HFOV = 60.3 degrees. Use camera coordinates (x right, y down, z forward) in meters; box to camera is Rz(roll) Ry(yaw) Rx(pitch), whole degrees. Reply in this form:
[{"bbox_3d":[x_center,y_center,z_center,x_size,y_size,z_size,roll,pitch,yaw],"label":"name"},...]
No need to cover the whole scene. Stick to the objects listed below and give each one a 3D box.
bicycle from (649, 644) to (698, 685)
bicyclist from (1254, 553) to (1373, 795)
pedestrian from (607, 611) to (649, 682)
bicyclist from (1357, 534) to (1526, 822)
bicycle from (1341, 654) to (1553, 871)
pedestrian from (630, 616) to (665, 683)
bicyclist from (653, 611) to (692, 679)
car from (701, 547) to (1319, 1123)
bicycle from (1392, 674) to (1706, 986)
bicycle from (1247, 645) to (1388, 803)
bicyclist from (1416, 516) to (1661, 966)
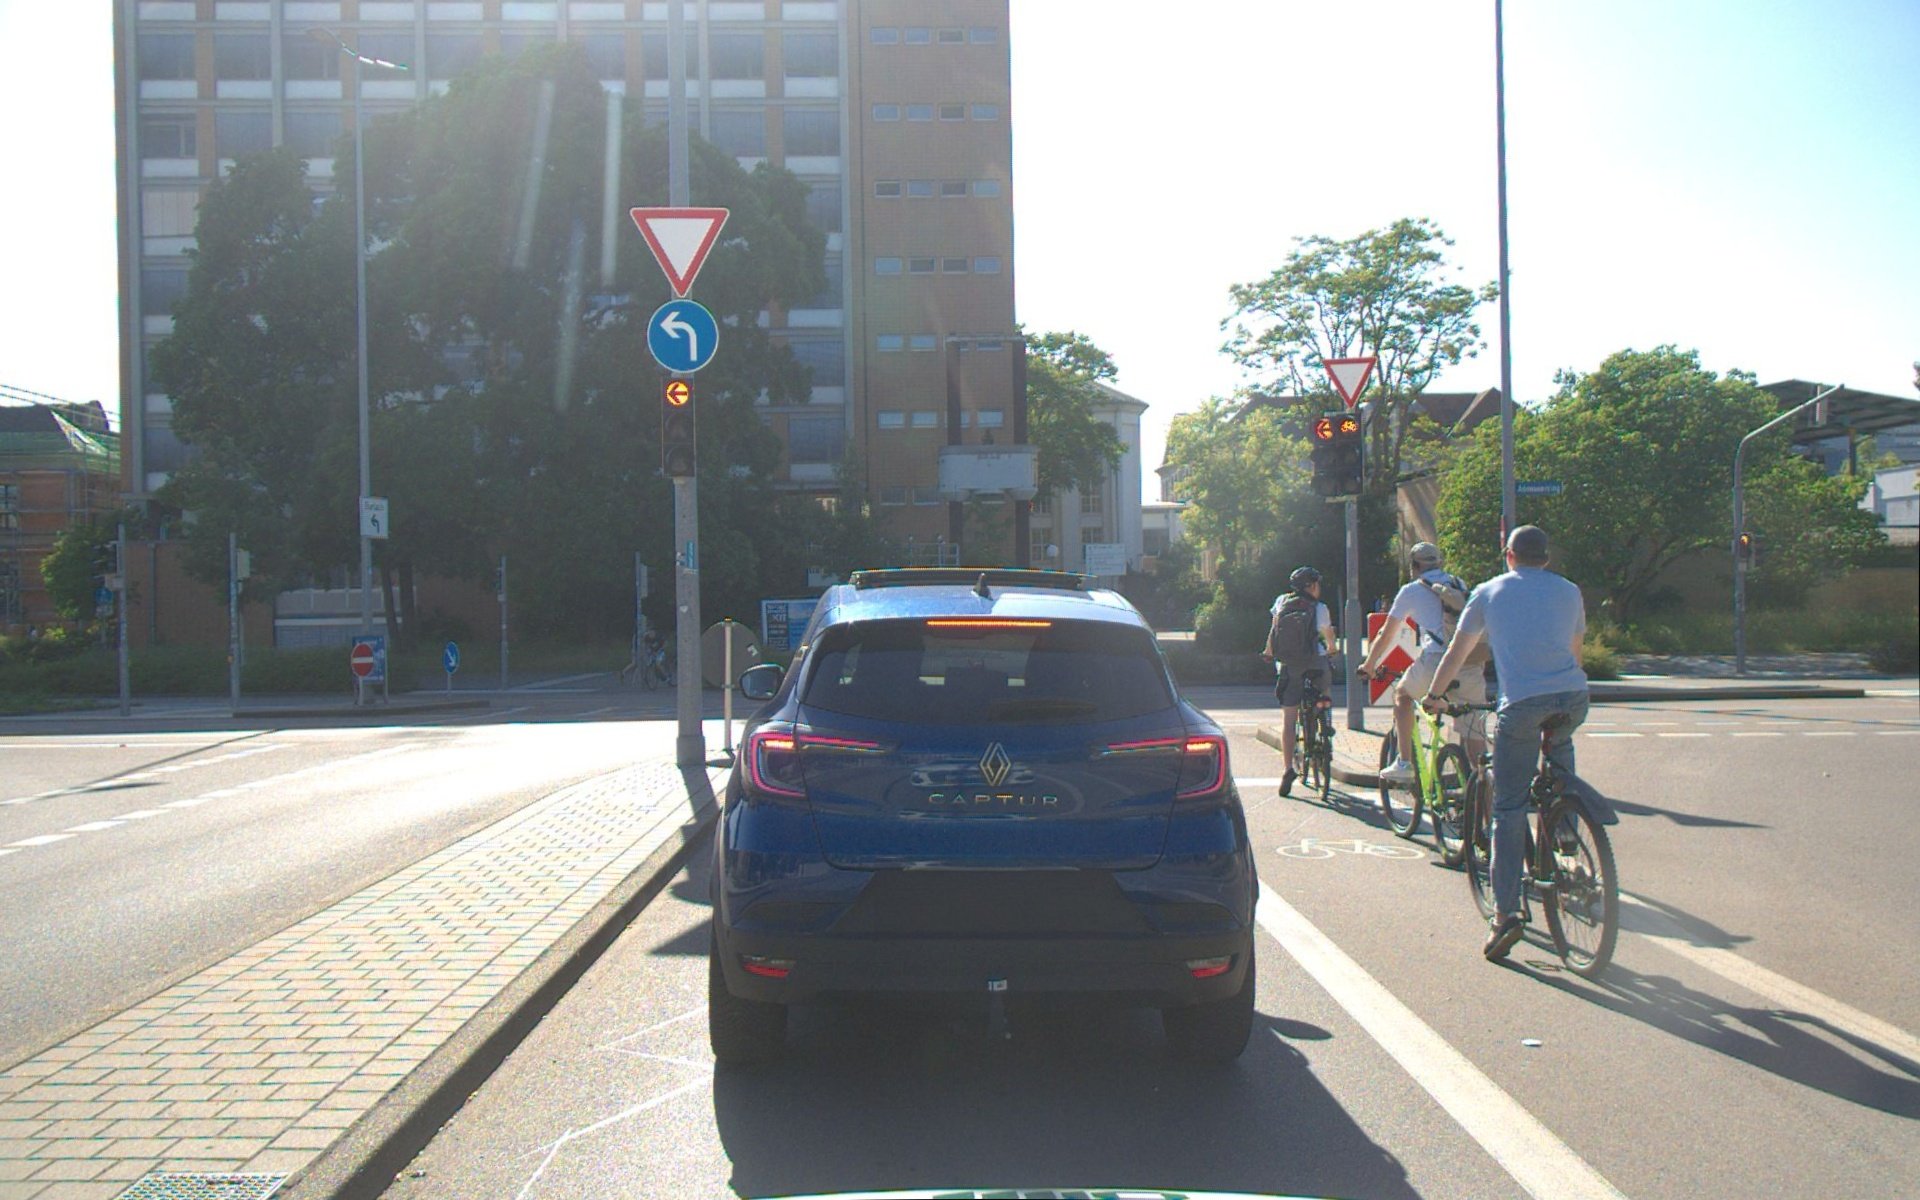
[{"bbox_3d":[-7.551,1.695,43.674,0.739,1.002,2.095,-1,0,5],"label":"bicycle"},{"bbox_3d":[2.776,0.560,13.083,0.685,1.822,1.142,0,0,-1],"label":"bicyclist"},{"bbox_3d":[-9.021,1.261,44.984,0.796,1.895,0.910,-1,0,13],"label":"pedestrian"},{"bbox_3d":[2.858,0.442,9.919,0.664,1.622,1.142,0,0,-1],"label":"bicyclist"},{"bbox_3d":[2.849,0.910,9.884,0.675,1.108,1.922,0,0,-1],"label":"bicycle"},{"bbox_3d":[-8.346,1.311,44.197,0.666,1.761,0.761,-1,0,13],"label":"pedestrian"},{"bbox_3d":[-7.570,1.170,43.569,0.739,1.746,0.999,-1,0,5],"label":"bicyclist"},{"bbox_3d":[0.062,0.662,6.637,1.753,1.613,3.912,0,0,-3],"label":"car"},{"bbox_3d":[2.504,0.920,7.282,0.675,1.108,1.922,0,0,-1],"label":"bicycle"},{"bbox_3d":[2.783,0.935,13.074,0.675,1.108,1.922,0,0,-1],"label":"bicycle"},{"bbox_3d":[2.508,0.572,7.290,0.669,1.822,1.142,0,0,-1],"label":"bicyclist"}]
